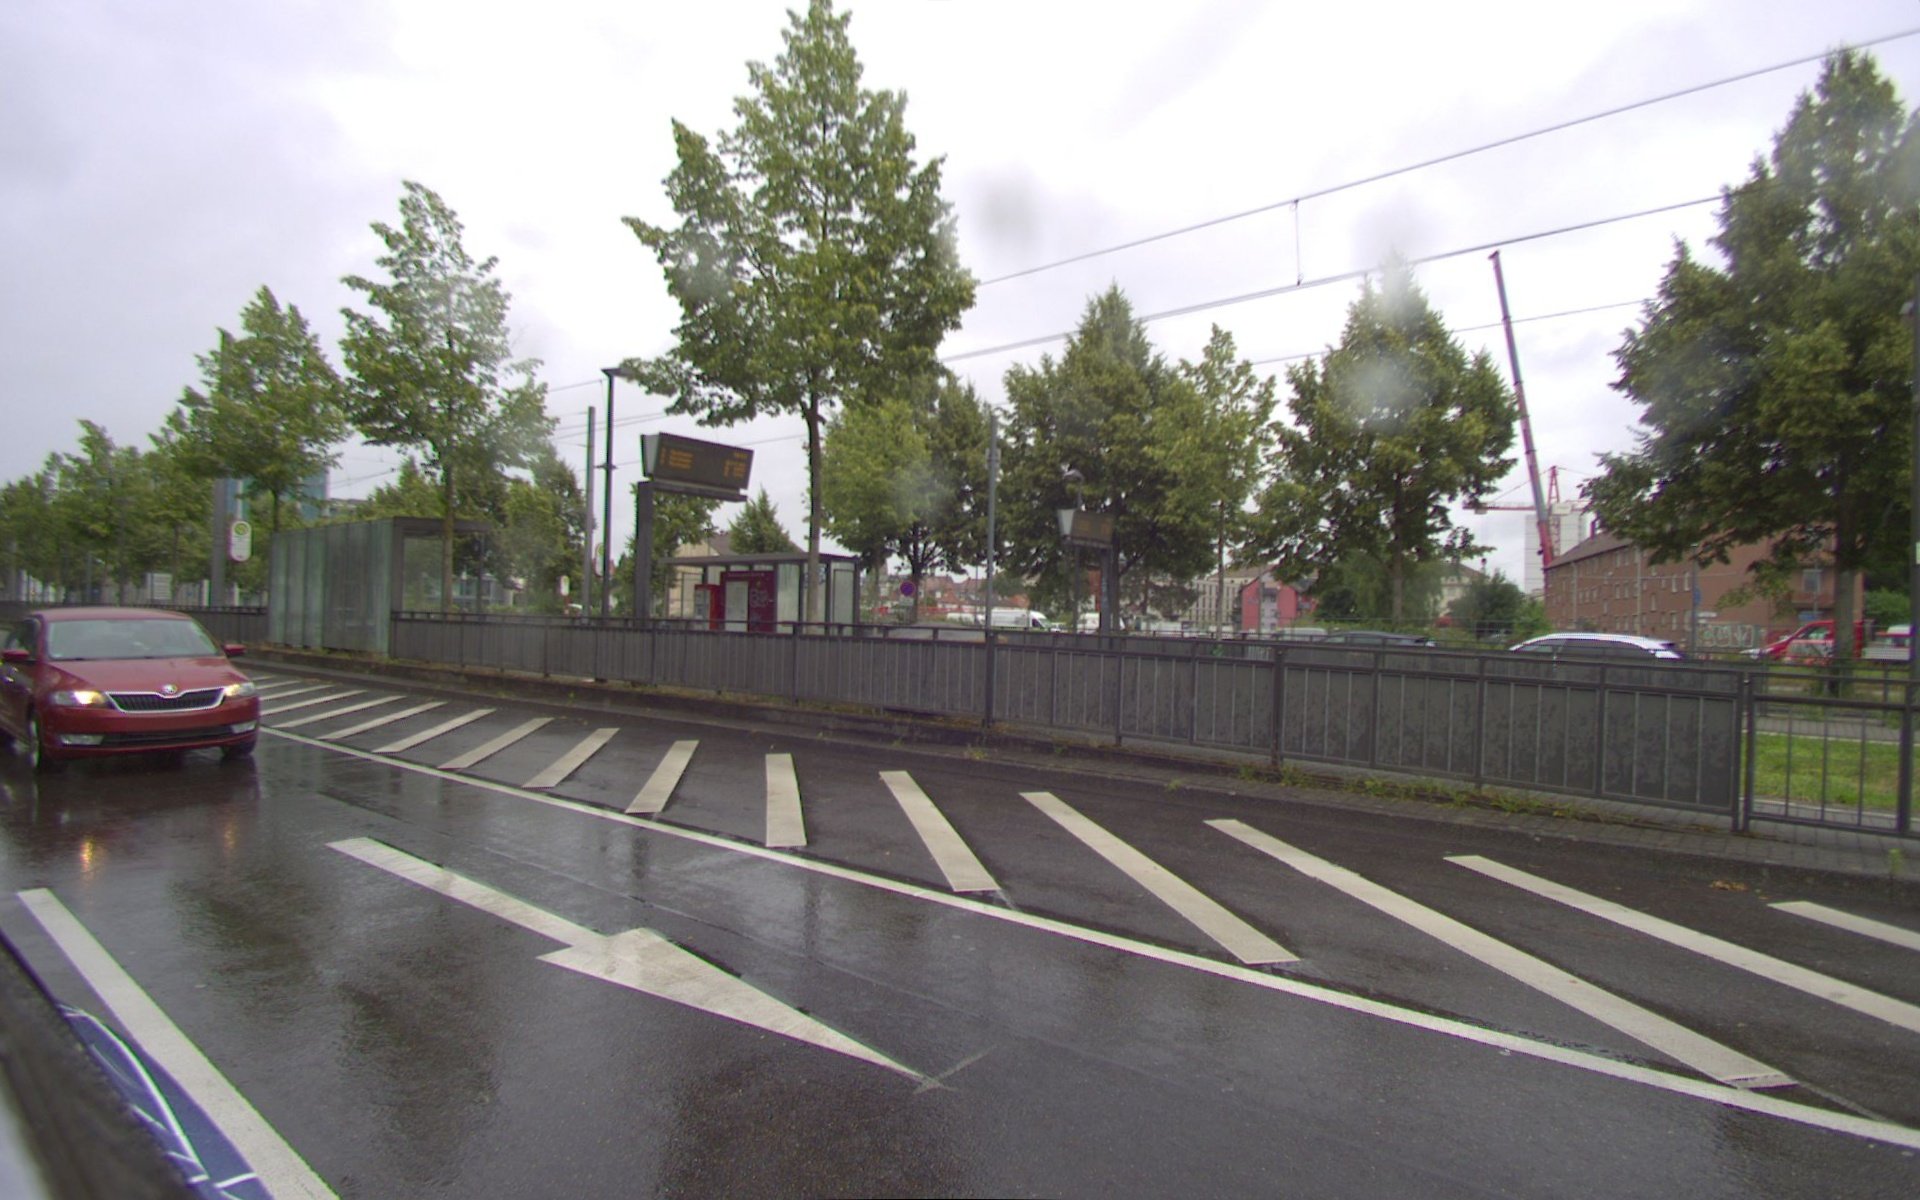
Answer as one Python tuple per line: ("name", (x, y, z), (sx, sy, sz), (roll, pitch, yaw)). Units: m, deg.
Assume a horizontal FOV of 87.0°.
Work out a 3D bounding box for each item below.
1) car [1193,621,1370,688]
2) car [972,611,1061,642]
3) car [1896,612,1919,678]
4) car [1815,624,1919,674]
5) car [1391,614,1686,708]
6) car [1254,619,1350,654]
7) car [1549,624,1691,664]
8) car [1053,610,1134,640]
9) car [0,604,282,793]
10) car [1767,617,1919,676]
("car", (8.257, 1.339, 26.208), (4.000, 1.497, 1.805), (0, 0, 43))
("car", (4.784, 2.204, 86.416), (7.627, 2.495, 2.327), (0, 0, 38))
("car", (46.260, 2.064, 45.095), (2.319, 2.961, 6.441), (0, 0, -38))
("car", (39.874, 2.038, 41.956), (2.319, 2.029, 6.440), (2, -2, -38))
("car", (10.810, 1.058, 19.114), (4.622, 1.497, 1.807), (0, 0, 39))
("car", (26.362, 2.785, 78.131), (6.804, 2.495, 2.335), (0, -2, 28))
("car", (36.862, 2.431, 56.821), (6.393, 2.029, 2.336), (0, 0, 26))
("car", (11.755, 2.145, 89.267), (6.826, 2.495, 2.470), (0, 0, 38))
("car", (-8.487, 0.788, 10.139), (4.313, 1.470, 1.765), (0, 0, 41))
("car", (34.560, 1.712, 37.899), (2.319, 2.029, 6.441), (-1, 0, -38))
